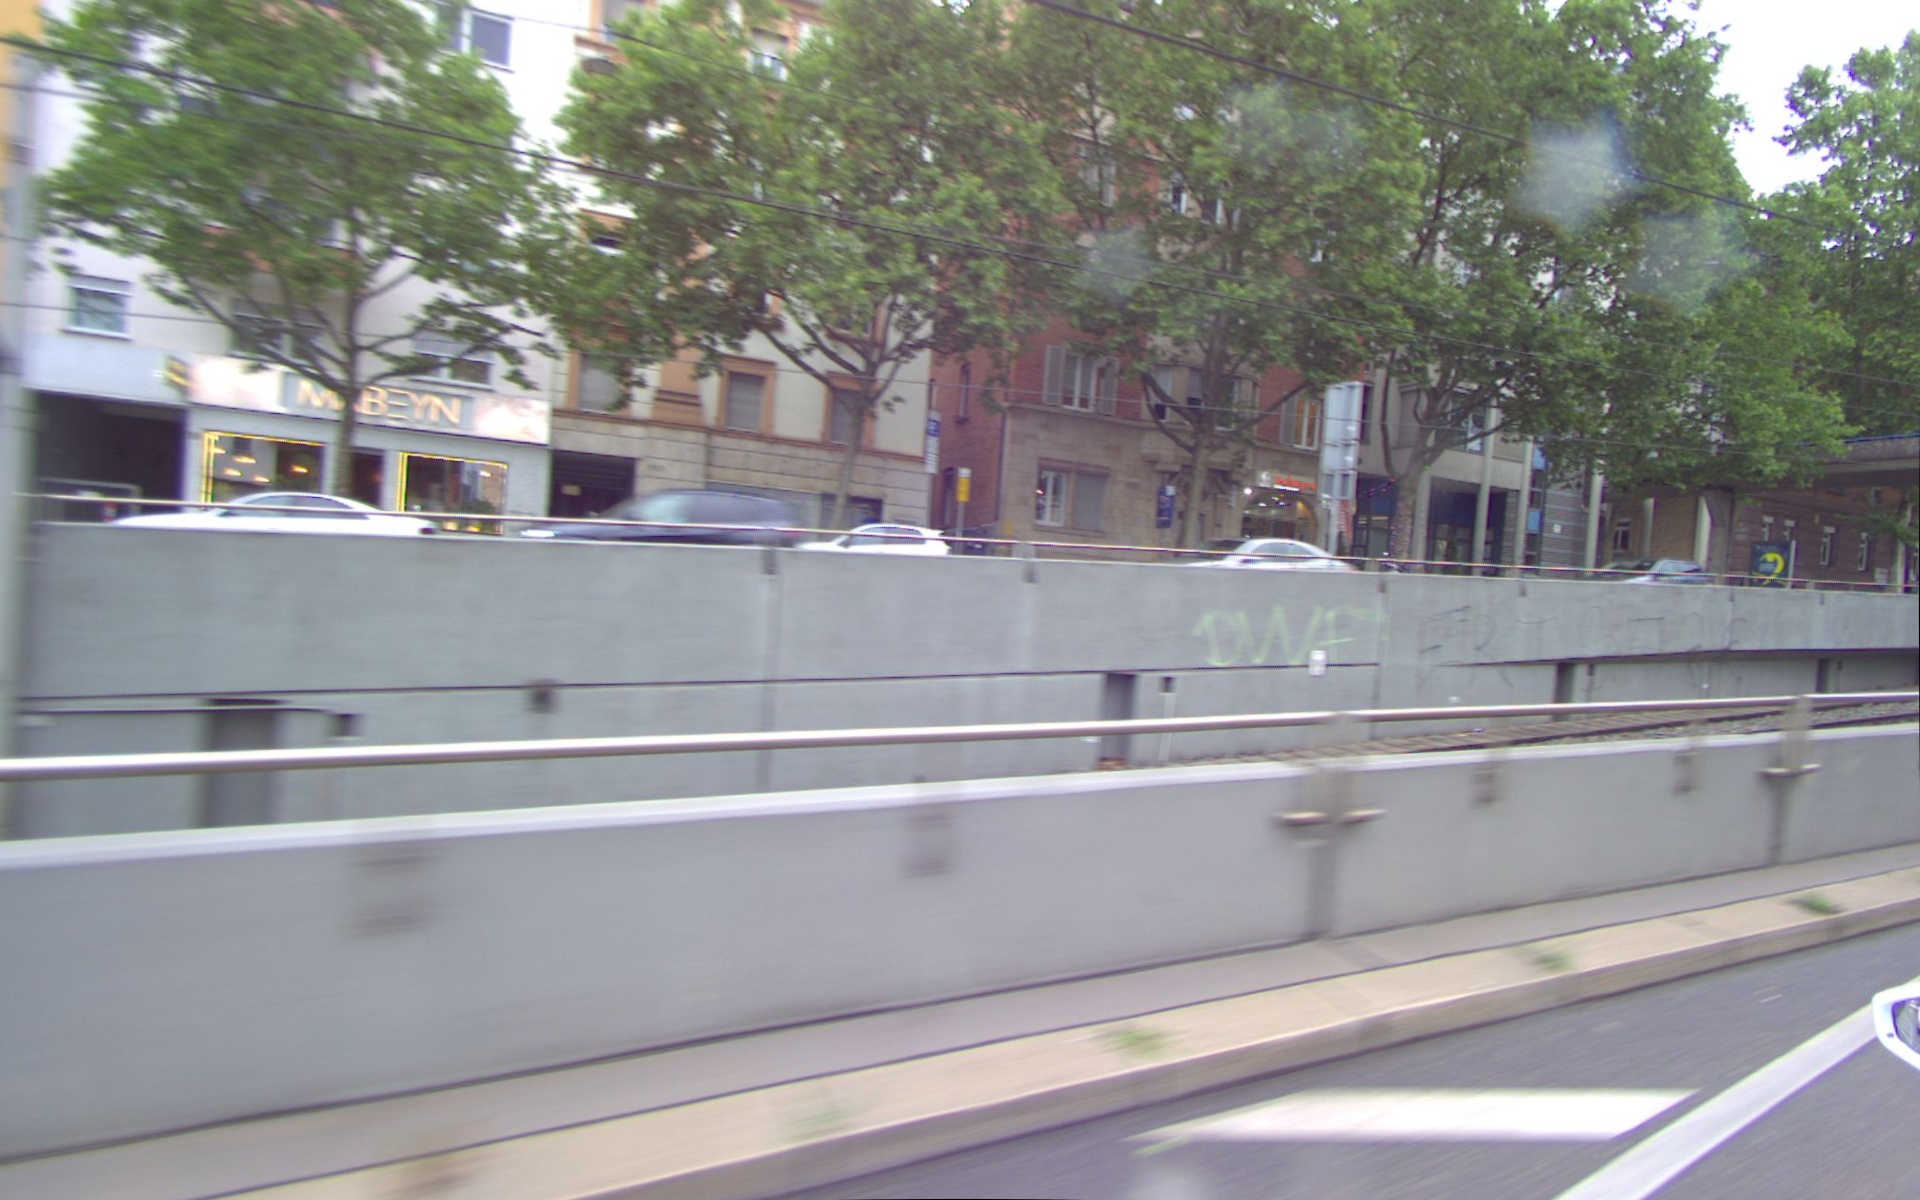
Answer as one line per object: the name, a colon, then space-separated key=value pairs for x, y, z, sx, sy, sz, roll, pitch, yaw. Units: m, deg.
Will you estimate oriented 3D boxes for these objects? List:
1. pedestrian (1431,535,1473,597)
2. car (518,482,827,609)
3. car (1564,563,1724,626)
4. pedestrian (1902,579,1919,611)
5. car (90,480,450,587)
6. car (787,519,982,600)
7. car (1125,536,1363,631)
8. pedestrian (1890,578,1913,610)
pedestrian: x=16.677 y=-1.157 z=34.067 sx=0.921 sy=2.041 sz=0.667 roll=2 pitch=4 yaw=-22
car: x=-4.986 y=-0.901 z=17.484 sx=4.898 sy=1.878 sz=1.951 roll=1 pitch=4 yaw=-24
car: x=19.248 y=-0.148 z=28.263 sx=4.051 sy=1.531 sz=1.789 roll=1 pitch=4 yaw=-24
pedestrian: x=49.443 y=-0.283 z=52.084 sx=0.711 sy=1.646 sz=0.592 roll=0 pitch=1 yaw=-18
car: x=-12.296 y=-1.174 z=18.406 sx=5.128 sy=1.623 sz=1.921 roll=1 pitch=4 yaw=-25
car: x=-1.722 y=-0.919 z=22.986 sx=4.056 sy=1.633 sz=1.788 roll=1 pitch=4 yaw=-25
car: x=5.195 y=-0.294 z=18.334 sx=3.948 sy=1.531 sz=1.787 roll=1 pitch=4 yaw=-27
pedestrian: x=49.678 y=-0.318 z=52.981 sx=0.711 sy=1.646 sz=0.592 roll=0 pitch=1 yaw=-18
